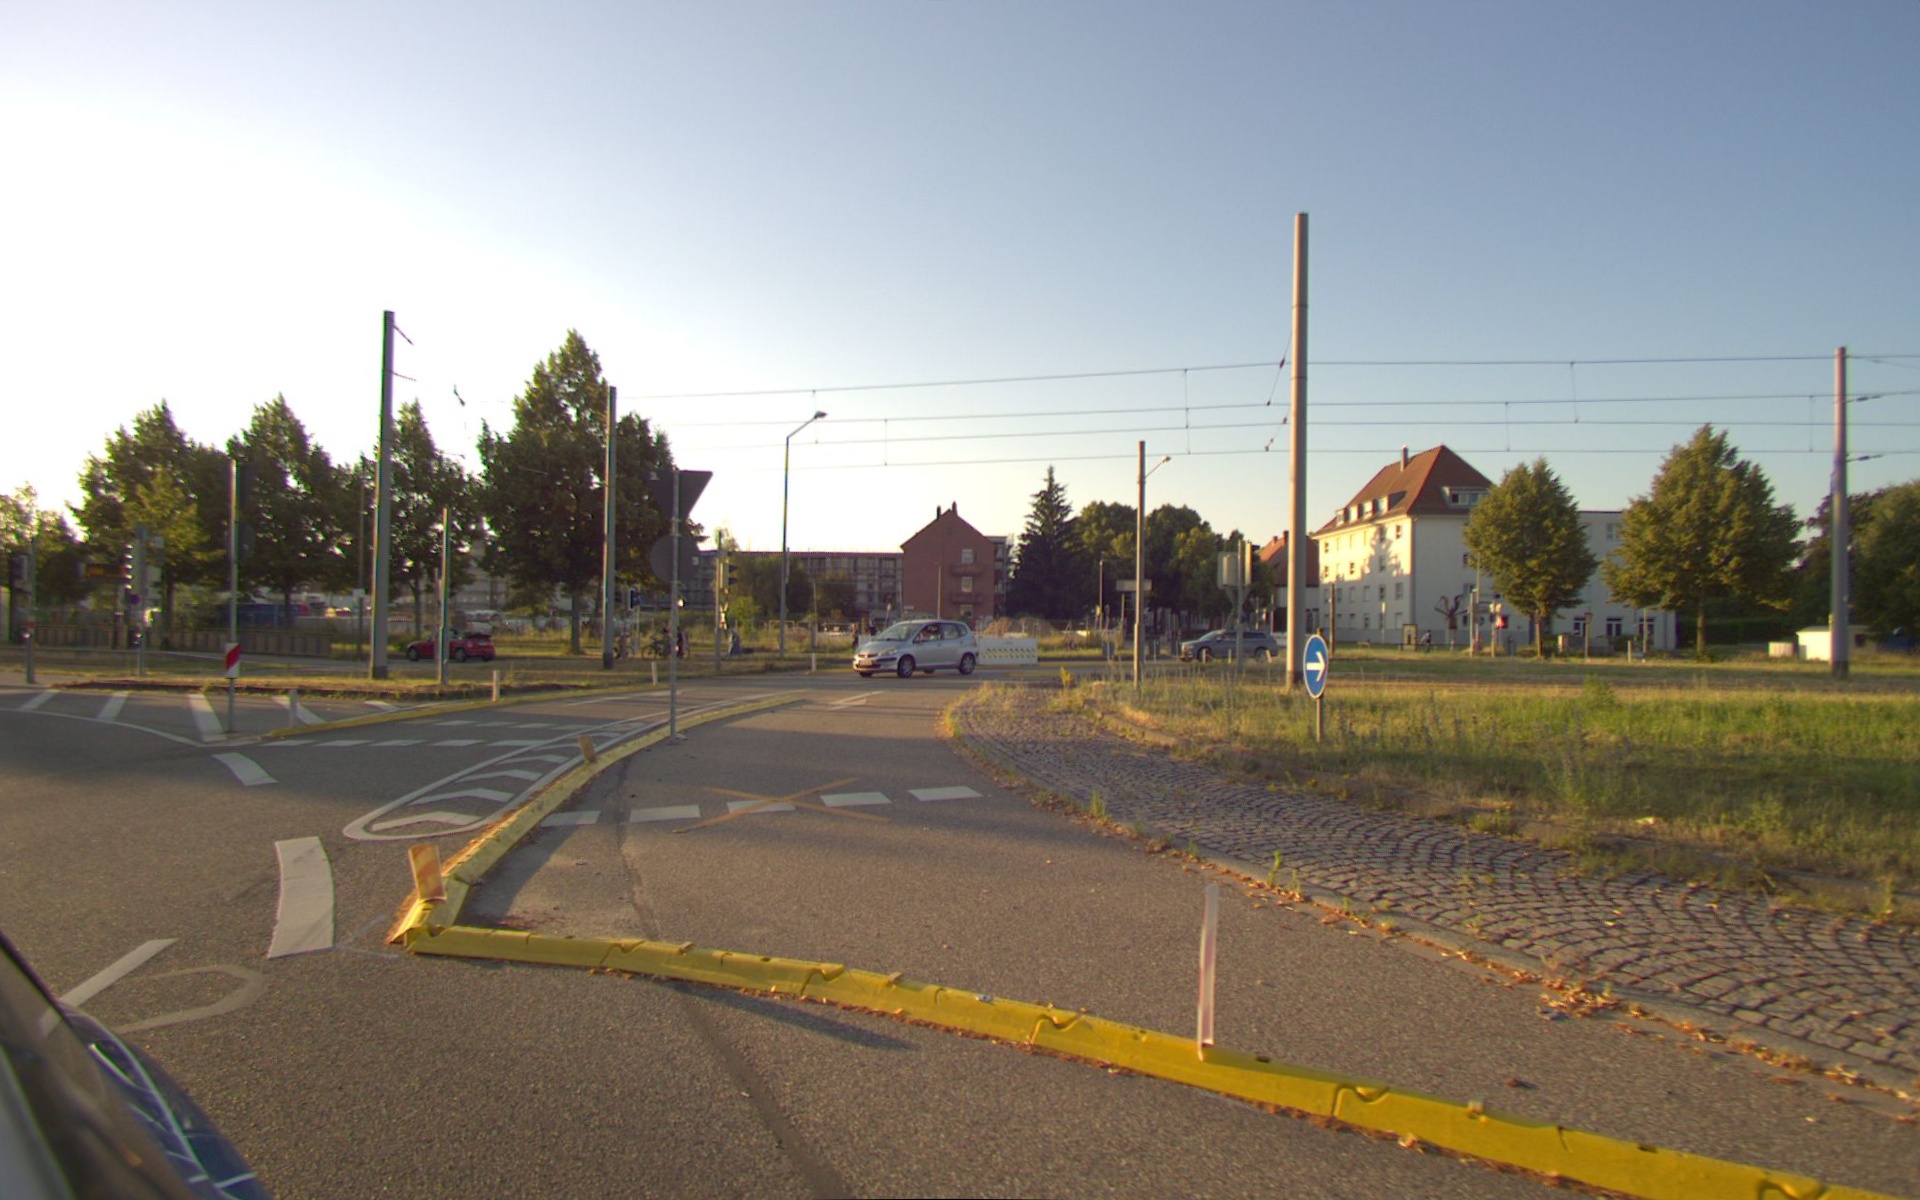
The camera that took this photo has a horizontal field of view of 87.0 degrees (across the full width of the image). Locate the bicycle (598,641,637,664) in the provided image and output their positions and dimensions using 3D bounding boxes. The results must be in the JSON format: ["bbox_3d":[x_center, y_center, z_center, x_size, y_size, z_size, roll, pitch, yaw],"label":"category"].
[{"bbox_3d":[-14.982,2.284,44.309,0.546,0.988,1.829,-1,-2,23],"label":"bicycle"}]

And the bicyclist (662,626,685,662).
[{"bbox_3d":[-12.381,1.889,43.768,0.589,1.517,0.808,-1,-2,23],"label":"bicyclist"}]

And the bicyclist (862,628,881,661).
[{"bbox_3d":[-4.449,2.219,51.034,0.784,1.646,0.698,1,-2,-20],"label":"bicyclist"}]

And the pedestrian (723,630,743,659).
[{"bbox_3d":[-10.953,2.151,48.842,0.690,1.376,0.614,-1,-2,24],"label":"pedestrian"}]

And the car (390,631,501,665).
[{"bbox_3d":[-21.521,1.992,42.365,3.964,1.342,1.825,0,-2,16],"label":"car"}]

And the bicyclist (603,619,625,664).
[{"bbox_3d":[-15.075,1.796,44.127,0.611,1.933,0.673,-1,-2,24],"label":"bicyclist"}]

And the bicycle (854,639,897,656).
[{"bbox_3d":[-4.283,2.406,51.169,2.098,0.852,0.514,1,-2,-20],"label":"bicycle"}]

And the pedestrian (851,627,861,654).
[{"bbox_3d":[-5.442,2.106,52.807,0.495,1.376,0.435,0,-2,-11],"label":"pedestrian"}]

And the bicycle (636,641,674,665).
[{"bbox_3d":[-13.344,2.298,44.270,0.546,0.988,1.829,-1,-2,23],"label":"bicycle"}]

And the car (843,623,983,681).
[{"bbox_3d":[-1.211,1.356,27.290,1.607,1.476,3.656,-2,-2,45],"label":"car"}]

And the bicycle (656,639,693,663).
[{"bbox_3d":[-12.355,2.196,43.848,0.534,0.988,1.829,-1,-2,23],"label":"bicycle"}]

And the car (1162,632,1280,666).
[{"bbox_3d":[11.470,2.137,44.605,4.577,1.426,1.935,0,-2,-9],"label":"car"}]

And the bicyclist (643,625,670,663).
[{"bbox_3d":[-13.280,1.926,44.239,0.810,1.653,0.808,-1,-2,24],"label":"bicyclist"}]

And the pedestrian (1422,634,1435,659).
[{"bbox_3d":[30.973,3.092,66.891,0.586,1.634,0.567,0,-2,-3],"label":"pedestrian"}]
